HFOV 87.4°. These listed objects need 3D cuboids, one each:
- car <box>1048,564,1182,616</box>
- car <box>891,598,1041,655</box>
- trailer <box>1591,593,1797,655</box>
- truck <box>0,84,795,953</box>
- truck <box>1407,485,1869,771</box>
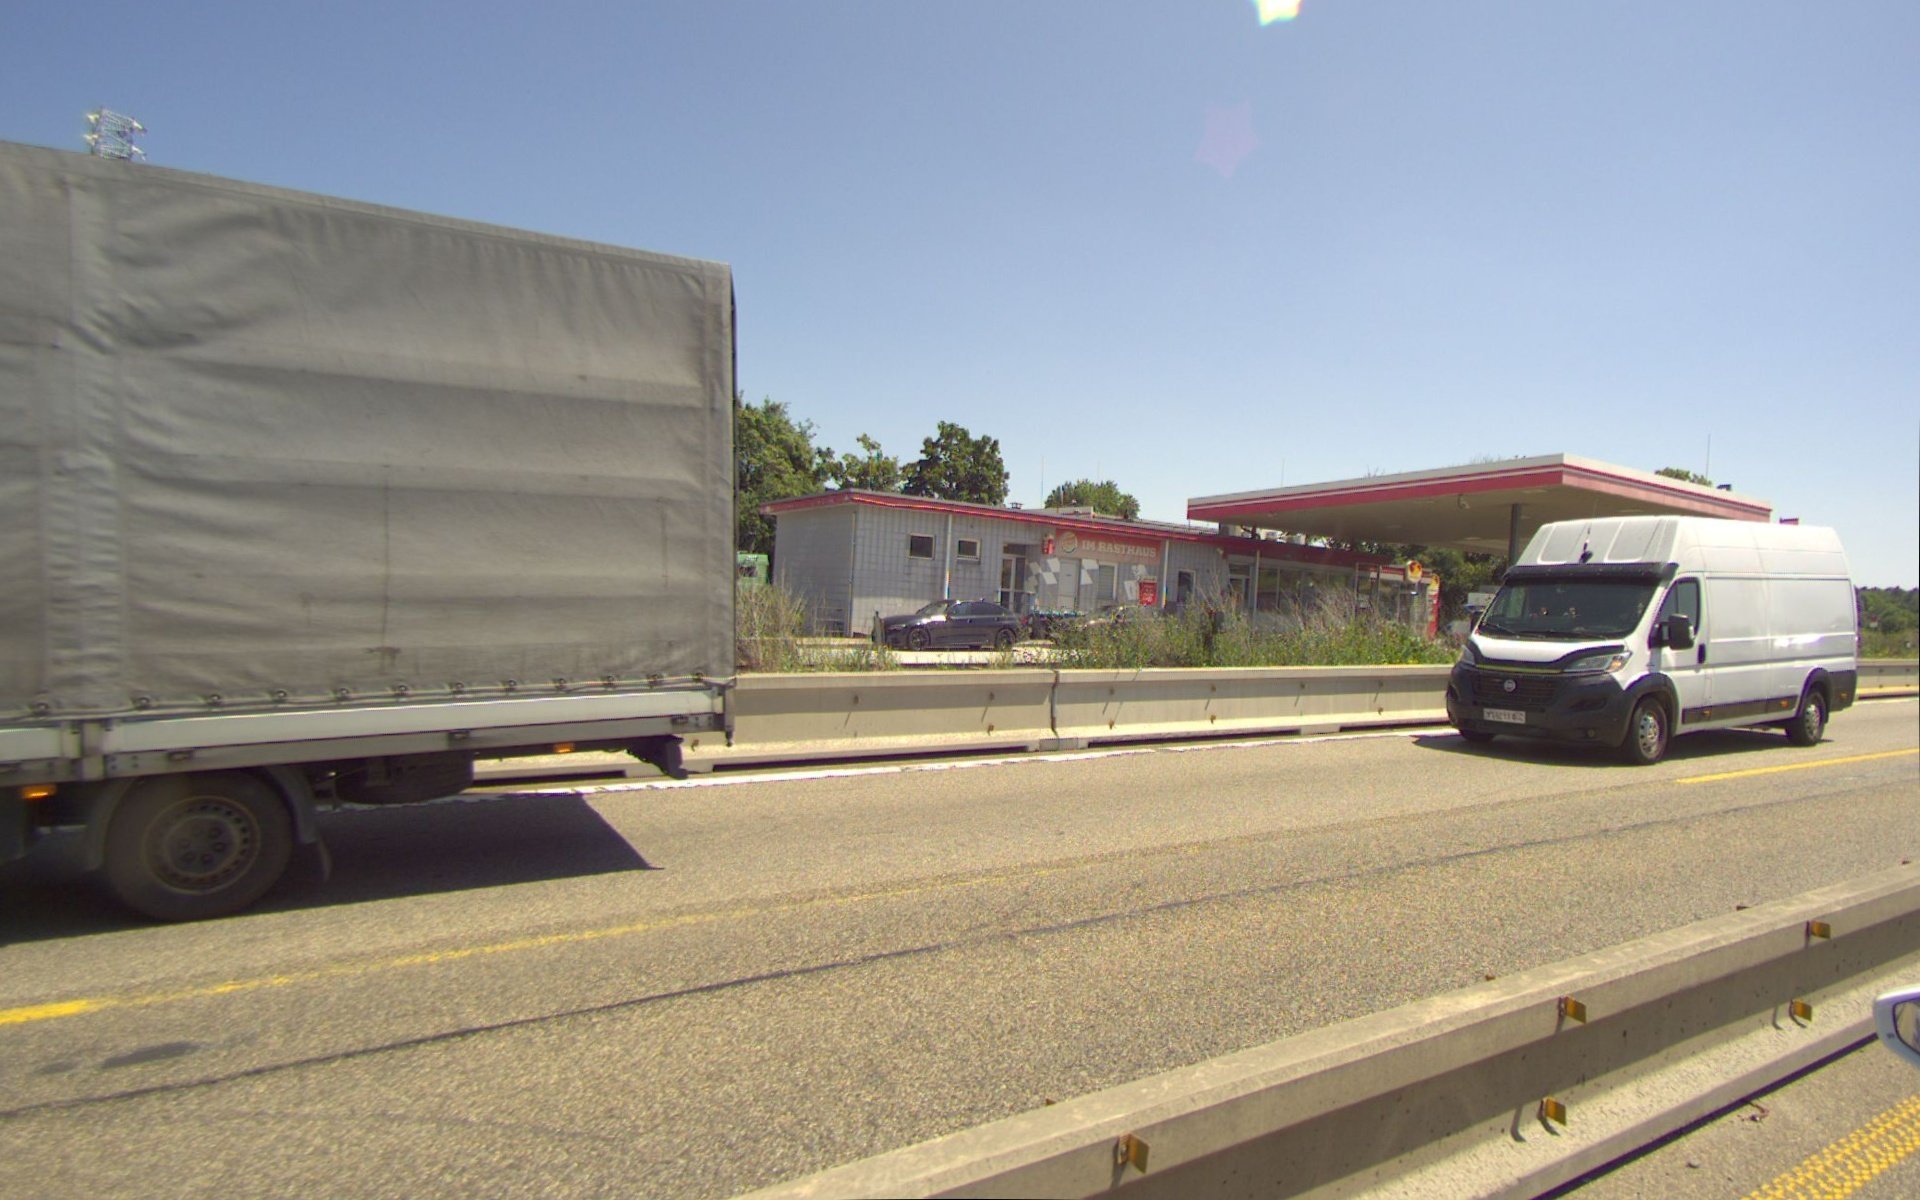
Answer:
[{"bbox_3d":[4.906,-0.304,31.698,3.954,1.351,1.637,1,7,-31],"label":"car"},{"bbox_3d":[0.190,0.705,28.464,3.953,1.374,1.637,0,6,-31],"label":"car"},{"bbox_3d":[56.358,1.827,77.295,13.890,4.166,3.159,2,0,-3],"label":"trailer"},{"bbox_3d":[-4.983,-0.322,4.528,8.023,3.336,2.483,1,0,-31],"label":"truck"},{"bbox_3d":[8.609,0.321,12.522,6.418,2.823,2.228,1,1,-31],"label":"truck"}]
